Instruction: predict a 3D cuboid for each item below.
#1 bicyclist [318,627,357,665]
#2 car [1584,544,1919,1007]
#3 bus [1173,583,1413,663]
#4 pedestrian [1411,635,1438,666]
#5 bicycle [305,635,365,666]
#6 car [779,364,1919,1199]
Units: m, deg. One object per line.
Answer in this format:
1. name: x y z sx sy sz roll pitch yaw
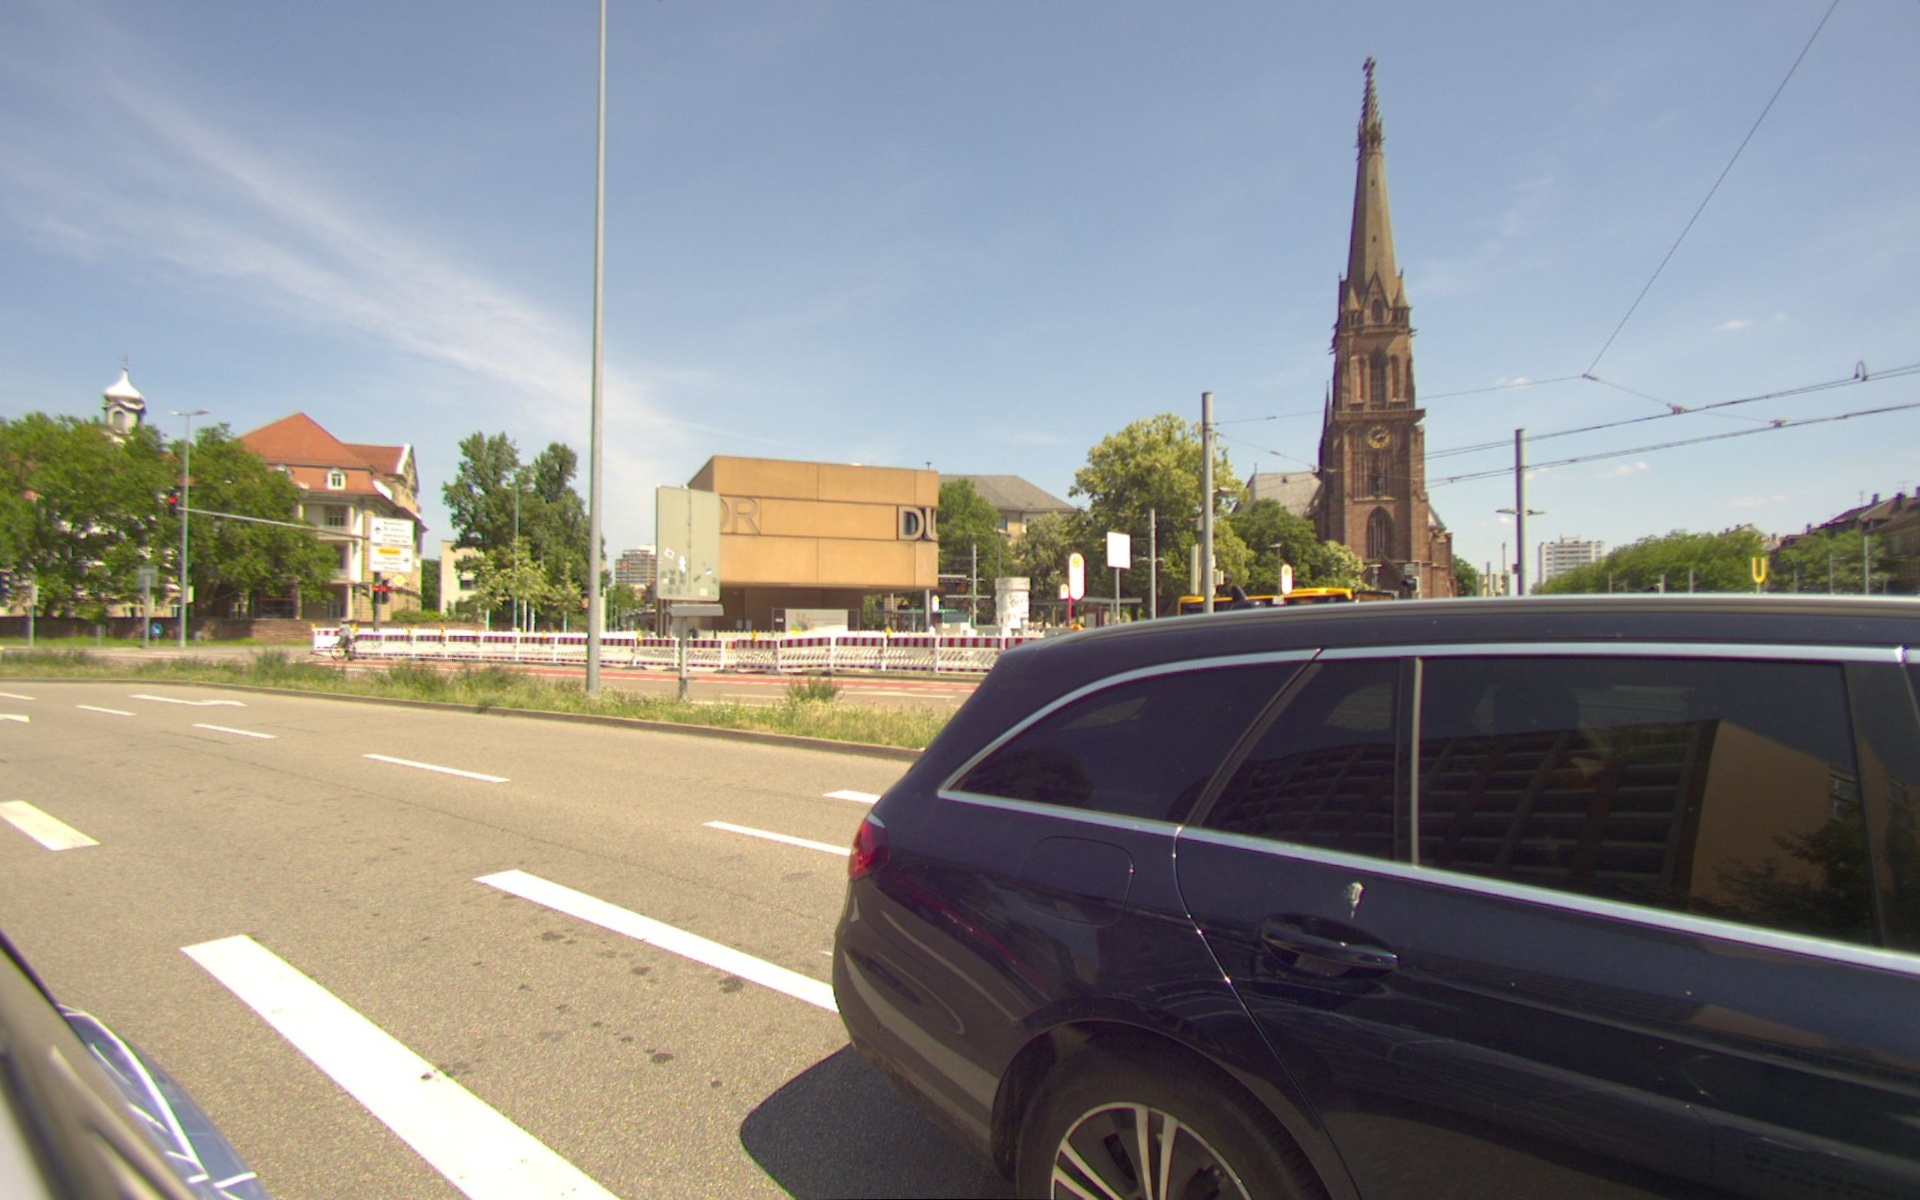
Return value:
1. bicyclist: -23.308 1.711 37.878 1.432 1.366 0.581 -1 0 26
2. car: 4.530 0.602 3.542 3.736 1.588 1.725 -2 -3 42
3. bus: 14.188 1.089 45.003 2.807 3.039 12.259 1 -2 -22
4. pedestrian: 20.532 2.223 44.717 0.518 1.344 1.001 1 -2 -17
5. bicycle: -23.297 1.860 37.718 2.220 1.080 0.871 -1 0 26
6. car: 1.948 0.559 1.467 4.803 1.653 1.778 -2 -1 42
